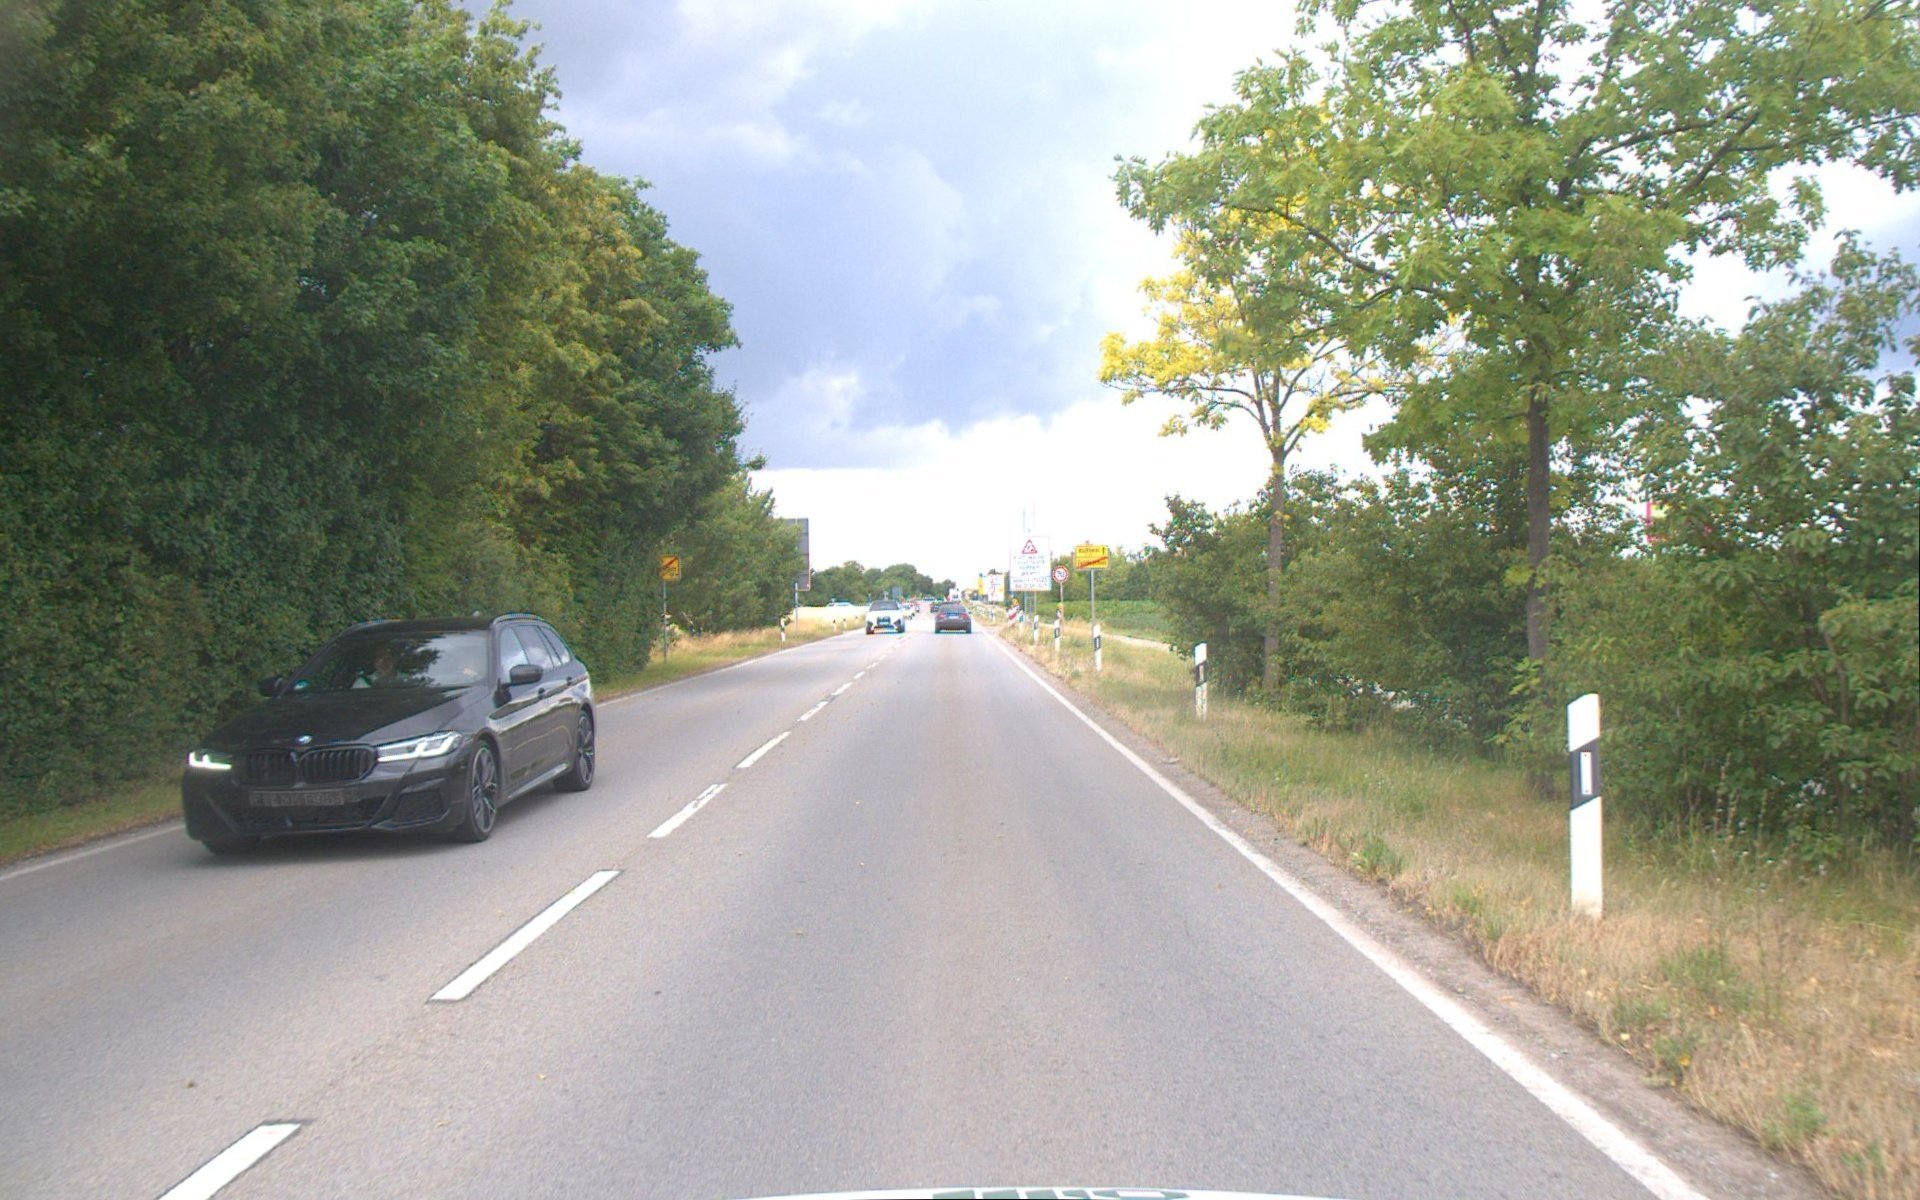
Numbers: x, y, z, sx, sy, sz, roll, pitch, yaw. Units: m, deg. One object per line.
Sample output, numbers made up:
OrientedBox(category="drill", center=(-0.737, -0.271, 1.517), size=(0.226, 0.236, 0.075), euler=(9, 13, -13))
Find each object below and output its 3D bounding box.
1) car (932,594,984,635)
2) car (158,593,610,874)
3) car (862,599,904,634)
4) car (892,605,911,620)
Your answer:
OrientedBox(category="car", center=(-0.134, 0.714, 83.023), size=(2.324, 1.913, 4.475), euler=(-3, 0, -3))
OrientedBox(category="car", center=(-3.991, 0.826, 12.375), size=(1.901, 1.614, 4.553), euler=(-3, 0, -3))
OrientedBox(category="car", center=(-3.982, 0.858, 86.646), size=(1.953, 1.713, 4.809), euler=(-1, 0, 0))
OrientedBox(category="car", center=(-5.616, 1.188, 159.877), size=(1.693, 1.387, 3.949), euler=(-1, 0, 0))
